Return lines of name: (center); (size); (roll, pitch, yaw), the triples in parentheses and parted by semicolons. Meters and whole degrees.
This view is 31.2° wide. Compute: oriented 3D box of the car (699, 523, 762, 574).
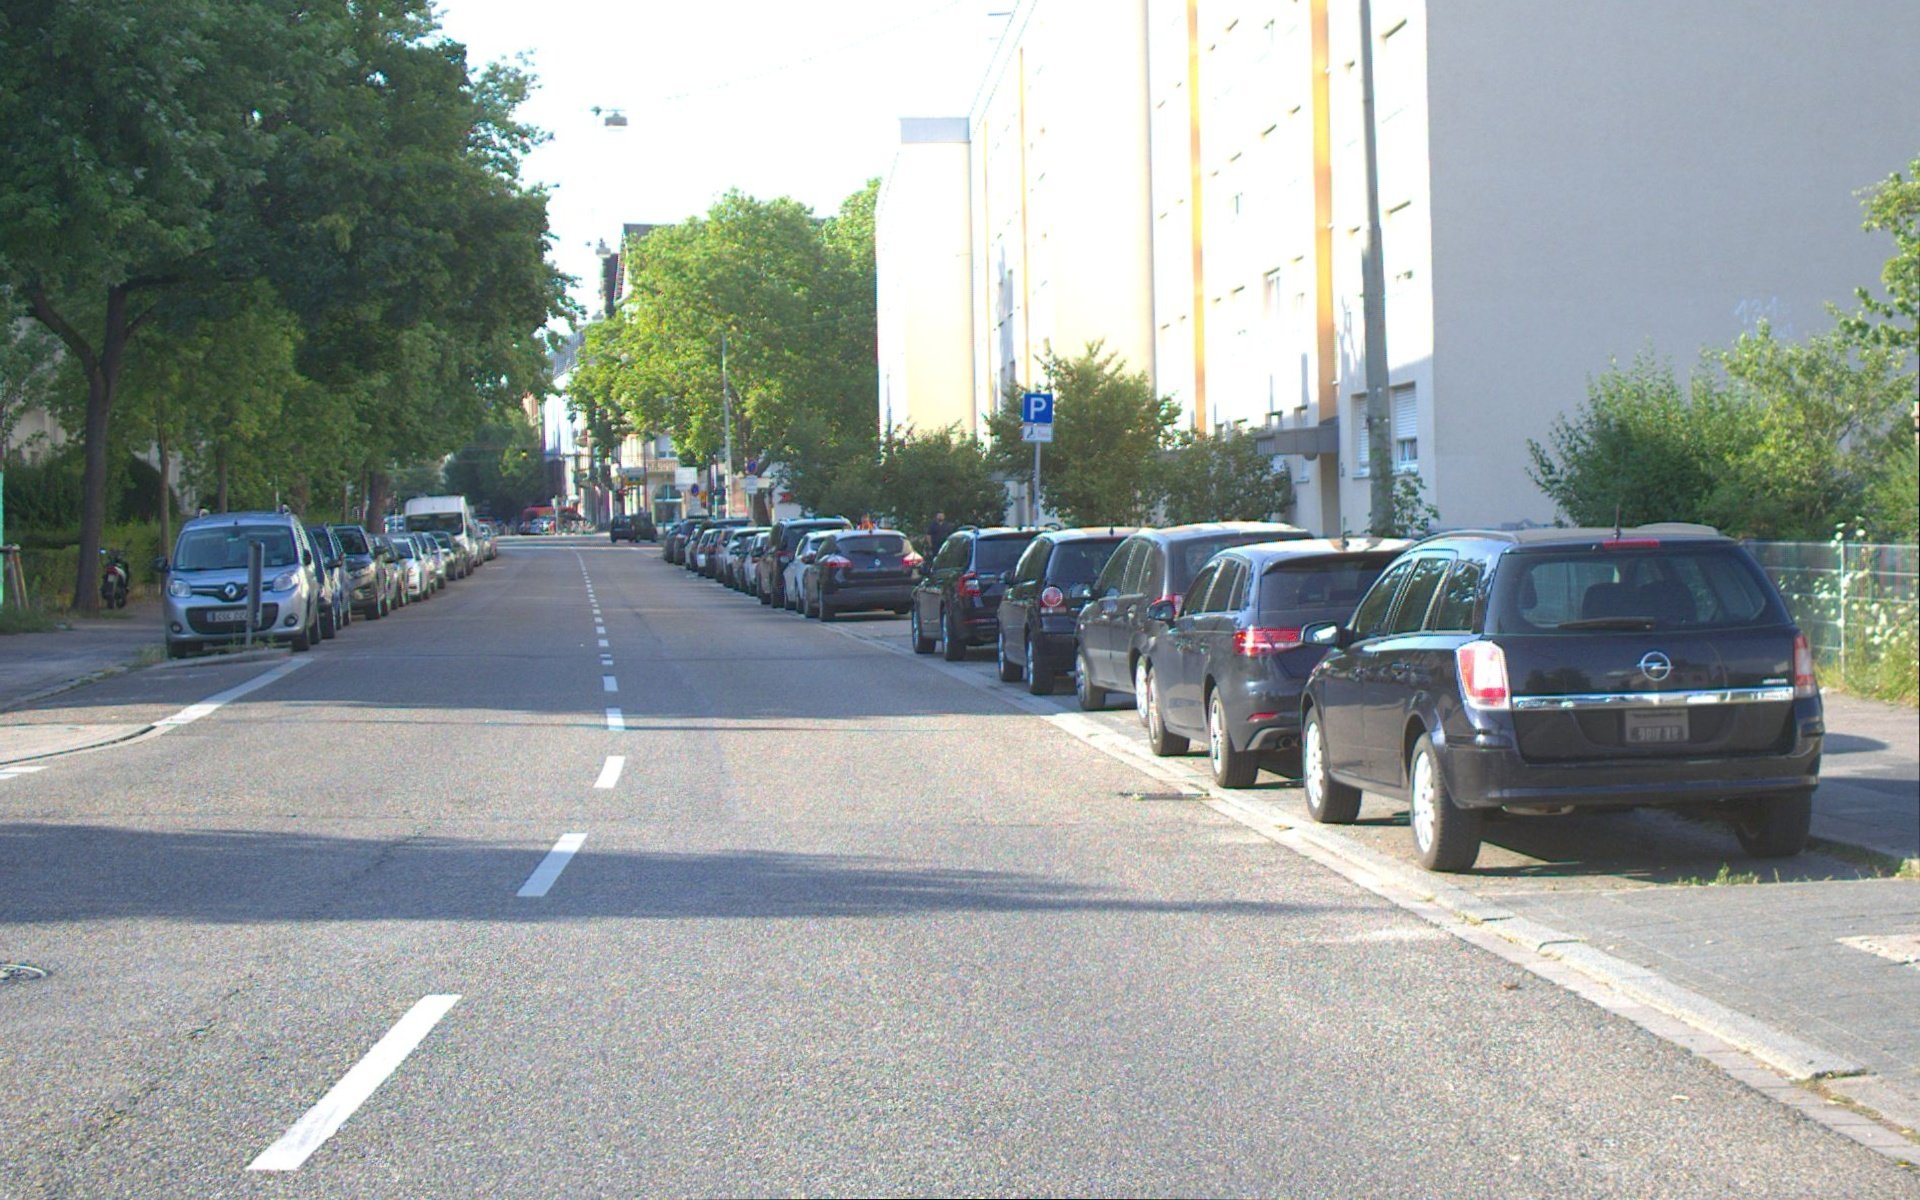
car: (-7.145, -1.577, 106.809); (1.837, 1.496, 4.173); (1, 0, -5)

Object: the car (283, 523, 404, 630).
car: (-10.611, -0.400, 59.415); (1.873, 1.753, 4.691); (1, 0, -8)

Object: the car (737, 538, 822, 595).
car: (-4.768, -0.867, 90.395); (1.873, 1.438, 4.001); (1, 0, -8)

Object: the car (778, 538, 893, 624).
car: (-2.313, -0.346, 63.024); (1.771, 1.503, 4.001); (-1, 0, -6)

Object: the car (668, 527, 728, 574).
car: (-9.904, -1.885, 129.838); (1.897, 1.645, 4.344); (4, 1, -8)

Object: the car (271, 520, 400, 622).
car: (-9.977, -0.458, 55.143); (1.873, 1.547, 4.001); (1, 0, -8)

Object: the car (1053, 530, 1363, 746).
car: (1.876, 0.237, 27.149); (1.650, 1.431, 3.961); (-1, 3, -8)

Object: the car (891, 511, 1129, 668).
car: (0.497, -0.131, 39.555); (1.886, 1.556, 4.947); (-4, 1, -8)

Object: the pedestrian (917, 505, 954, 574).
pedestrian: (-0.595, -1.478, 84.190); (0.765, 1.652, 0.536); (-3, 0, -6)

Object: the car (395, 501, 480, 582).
car: (-16.362, -1.803, 107.968); (2.357, 2.437, 6.166); (1, 0, -6)

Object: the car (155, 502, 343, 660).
car: (-9.097, -0.238, 44.296); (1.841, 1.890, 4.488); (1, 0, -5)

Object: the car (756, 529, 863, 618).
car: (-3.021, -0.515, 68.220); (1.771, 1.672, 4.647); (1, 0, -6)

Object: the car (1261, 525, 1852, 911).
car: (2.682, 0.477, 16.522); (1.741, 1.535, 4.440); (-2, 0, -4)

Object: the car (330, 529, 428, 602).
car: (-12.791, -0.749, 75.883); (2.004, 1.547, 4.473); (1, 0, -8)

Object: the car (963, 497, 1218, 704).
car: (1.145, -0.005, 32.294); (1.901, 1.773, 4.582); (1, 0, -4)

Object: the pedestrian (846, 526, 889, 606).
pedestrian: (-2.217, -0.802, 81.980); (0.888, 1.884, 1.279); (1, 0, -6)

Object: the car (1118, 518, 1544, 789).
car: (2.241, 0.298, 22.107); (1.901, 1.524, 4.811); (1, 0, -4)

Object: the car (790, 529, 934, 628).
car: (-1.677, -0.351, 57.138); (1.798, 1.502, 4.623); (3, 0, -8)
